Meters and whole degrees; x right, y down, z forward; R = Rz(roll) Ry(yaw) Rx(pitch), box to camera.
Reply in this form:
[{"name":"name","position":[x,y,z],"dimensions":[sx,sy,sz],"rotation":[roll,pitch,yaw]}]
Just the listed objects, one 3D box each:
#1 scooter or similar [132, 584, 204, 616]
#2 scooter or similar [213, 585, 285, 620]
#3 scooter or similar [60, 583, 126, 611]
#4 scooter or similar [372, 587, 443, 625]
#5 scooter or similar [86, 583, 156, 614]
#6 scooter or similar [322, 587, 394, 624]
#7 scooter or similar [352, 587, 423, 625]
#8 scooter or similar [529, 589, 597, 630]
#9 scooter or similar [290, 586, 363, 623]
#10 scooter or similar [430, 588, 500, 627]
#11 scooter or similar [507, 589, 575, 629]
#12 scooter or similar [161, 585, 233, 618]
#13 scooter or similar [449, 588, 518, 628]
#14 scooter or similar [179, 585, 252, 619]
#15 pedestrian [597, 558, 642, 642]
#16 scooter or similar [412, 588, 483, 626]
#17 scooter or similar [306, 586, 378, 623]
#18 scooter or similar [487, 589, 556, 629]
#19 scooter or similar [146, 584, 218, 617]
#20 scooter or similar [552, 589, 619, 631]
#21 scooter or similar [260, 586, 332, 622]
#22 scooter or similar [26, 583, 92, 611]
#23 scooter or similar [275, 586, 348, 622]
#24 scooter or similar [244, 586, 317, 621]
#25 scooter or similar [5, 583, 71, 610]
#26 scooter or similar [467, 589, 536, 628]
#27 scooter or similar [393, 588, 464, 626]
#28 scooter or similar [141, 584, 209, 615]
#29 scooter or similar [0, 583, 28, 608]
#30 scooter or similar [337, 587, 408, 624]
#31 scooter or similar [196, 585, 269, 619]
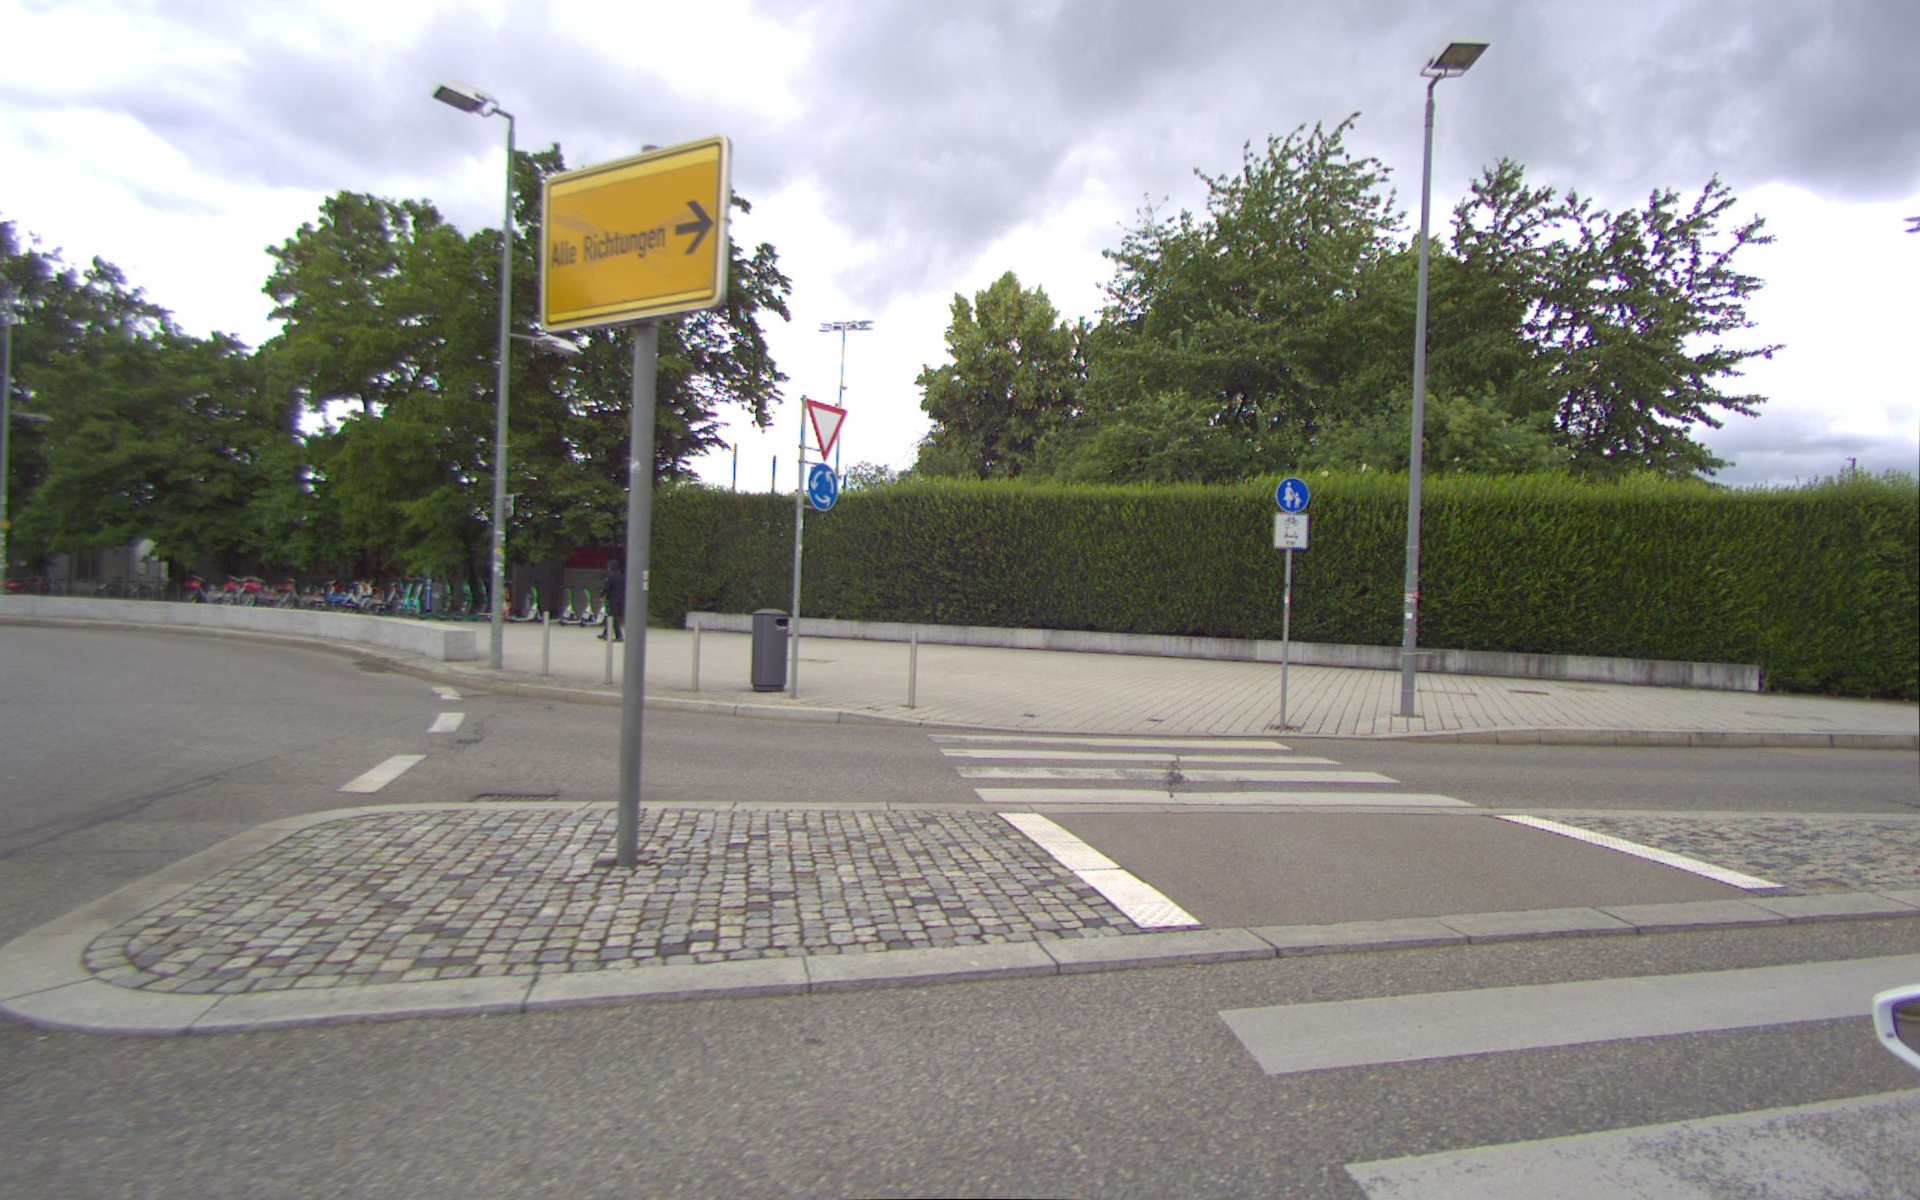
[{"name":"scooter or similar","position":[-28.243,0.001,35.861],"dimensions":[0.628,1.119,1.975],"rotation":[1,0,21]},{"name":"scooter or similar","position":[-23.828,0.084,33.707],"dimensions":[0.628,1.124,1.975],"rotation":[1,0,21]},{"name":"scooter or similar","position":[-35.495,-0.118,41.140],"dimensions":[0.628,1.124,1.975],"rotation":[1,0,21]},{"name":"scooter or similar","position":[-16.976,0.181,30.929],"dimensions":[0.628,1.124,1.975],"rotation":[1,0,21]},{"name":"scooter or similar","position":[-32.008,-0.051,38.350],"dimensions":[0.628,1.124,1.975],"rotation":[1,0,21]},{"name":"scooter or similar","position":[-18.995,0.155,31.727],"dimensions":[0.628,1.124,1.975],"rotation":[1,0,21]},{"name":"scooter or similar","position":[-17.765,0.174,31.218],"dimensions":[0.628,1.124,1.975],"rotation":[1,0,21]},{"name":"scooter or similar","position":[-11.340,0.263,28.743],"dimensions":[0.628,1.124,1.975],"rotation":[1,0,21]},{"name":"scooter or similar","position":[-20.296,0.140,32.228],"dimensions":[0.628,1.124,1.975],"rotation":[1,0,21]},{"name":"scooter or similar","position":[-14.752,0.214,30.017],"dimensions":[0.628,1.124,1.975],"rotation":[1,0,21]},{"name":"scooter or similar","position":[-12.075,0.256,29.027],"dimensions":[0.628,1.124,1.975],"rotation":[1,0,21]},{"name":"scooter or similar","position":[-26.440,0.045,34.849],"dimensions":[0.628,1.124,1.975],"rotation":[1,0,21]},{"name":"scooter or similar","position":[-14.098,0.224,29.777],"dimensions":[0.628,1.124,1.975],"rotation":[1,0,21]},{"name":"scooter or similar","position":[-25.550,0.054,34.505],"dimensions":[0.628,1.124,1.975],"rotation":[1,0,21]},{"name":"pedestrian","position":[-7.667,-0.001,22.623],"dimensions":[0.784,1.832,0.858],"rotation":[0,1,-32]},{"name":"scooter or similar","position":[-15.443,0.204,30.321],"dimensions":[0.628,1.124,1.975],"rotation":[1,0,21]},{"name":"scooter or similar","position":[-19.644,0.145,31.979],"dimensions":[0.628,1.124,1.975],"rotation":[1,0,21]},{"name":"scooter or similar","position":[-12.757,0.246,29.260],"dimensions":[0.628,1.124,1.975],"rotation":[1,0,21]},{"name":"scooter or similar","position":[-27.537,0.024,35.576],"dimensions":[0.628,1.124,1.975],"rotation":[1,0,21]},{"name":"scooter or similar","position":[-10.572,0.275,28.433],"dimensions":[0.628,1.124,1.975],"rotation":[1,0,21]},{"name":"scooter or similar","position":[-21.624,0.117,32.761],"dimensions":[0.628,1.124,1.975],"rotation":[1,0,21]},{"name":"scooter or similar","position":[-37.349,-0.129,41.659],"dimensions":[0.628,1.124,1.975],"rotation":[1,0,21]},{"name":"scooter or similar","position":[-20.956,0.127,32.502],"dimensions":[0.628,1.124,1.975],"rotation":[1,0,21]},{"name":"scooter or similar","position":[-22.288,0.107,33.001],"dimensions":[0.628,1.124,1.975],"rotation":[1,0,21]},{"name":"scooter or similar","position":[-39.137,-0.158,42.668],"dimensions":[0.628,1.124,1.975],"rotation":[1,0,21]},{"name":"scooter or similar","position":[-13.453,0.238,29.537],"dimensions":[0.628,1.124,1.975],"rotation":[1,0,21]},{"name":"scooter or similar","position":[-16.178,0.197,30.621],"dimensions":[0.628,1.124,1.975],"rotation":[1,0,21]},{"name":"scooter or similar","position":[-29.684,-0.013,38.011],"dimensions":[0.628,1.124,1.975],"rotation":[1,0,21]},{"name":"scooter or similar","position":[-42.072,-0.198,43.969],"dimensions":[0.535,1.109,1.809],"rotation":[1,0,21]},{"name":"scooter or similar","position":[-18.378,0.165,31.475],"dimensions":[0.628,1.124,1.975],"rotation":[1,0,21]},{"name":"scooter or similar","position":[-24.632,0.068,34.047],"dimensions":[0.628,1.124,1.975],"rotation":[1,0,21]}]
